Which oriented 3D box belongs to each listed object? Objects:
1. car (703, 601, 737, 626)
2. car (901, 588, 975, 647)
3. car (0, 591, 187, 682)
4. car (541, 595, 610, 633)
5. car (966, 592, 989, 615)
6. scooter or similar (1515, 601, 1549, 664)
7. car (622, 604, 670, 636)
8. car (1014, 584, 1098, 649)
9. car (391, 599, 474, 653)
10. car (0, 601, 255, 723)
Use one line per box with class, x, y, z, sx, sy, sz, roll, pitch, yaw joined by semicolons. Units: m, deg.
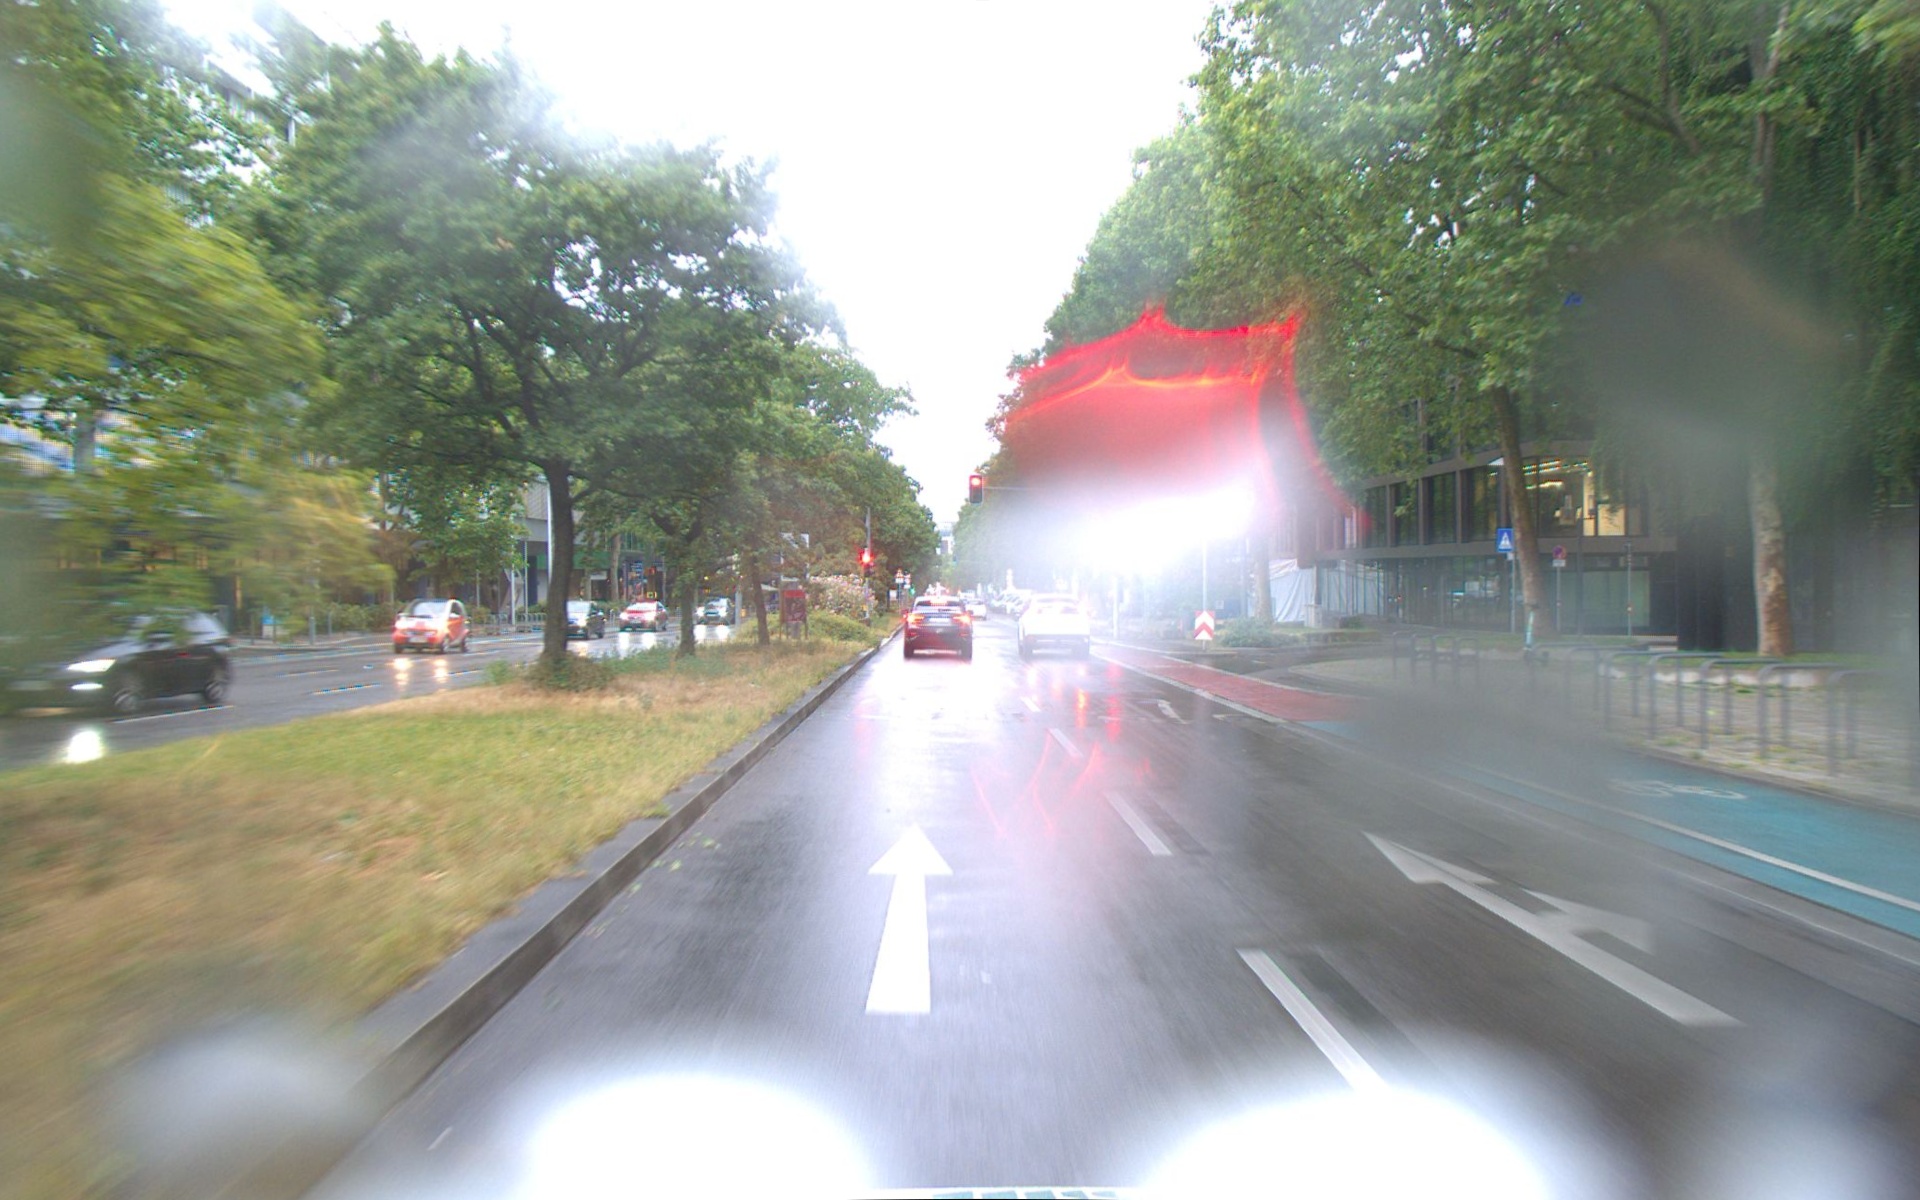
car;-14.626;0.849;100.930;1.582;1.418;3.596;1;-2;-1
car;-0.610;0.434;44.286;1.879;1.517;3.999;0;0;-1
car;-14.908;0.572;28.116;1.805;1.454;3.643;0;0;0
car;-14.792;0.516;63.863;1.806;1.414;3.999;0;0;-1
car;1.263;0.244;123.434;1.587;1.695;3.999;-1;0;-1
scooter or similar;11.458;0.640;33.105;0.374;1.249;1.075;0;0;35
car;-14.960;0.937;78.924;1.582;1.418;4.183;0;1;-1
car;2.601;0.401;45.751;1.953;1.684;4.888;0;1;-1
car;-14.913;0.715;46.897;1.463;1.489;2.731;0;0;0
car;-11.606;0.803;23.028;1.712;1.502;4.096;1;-1;1
